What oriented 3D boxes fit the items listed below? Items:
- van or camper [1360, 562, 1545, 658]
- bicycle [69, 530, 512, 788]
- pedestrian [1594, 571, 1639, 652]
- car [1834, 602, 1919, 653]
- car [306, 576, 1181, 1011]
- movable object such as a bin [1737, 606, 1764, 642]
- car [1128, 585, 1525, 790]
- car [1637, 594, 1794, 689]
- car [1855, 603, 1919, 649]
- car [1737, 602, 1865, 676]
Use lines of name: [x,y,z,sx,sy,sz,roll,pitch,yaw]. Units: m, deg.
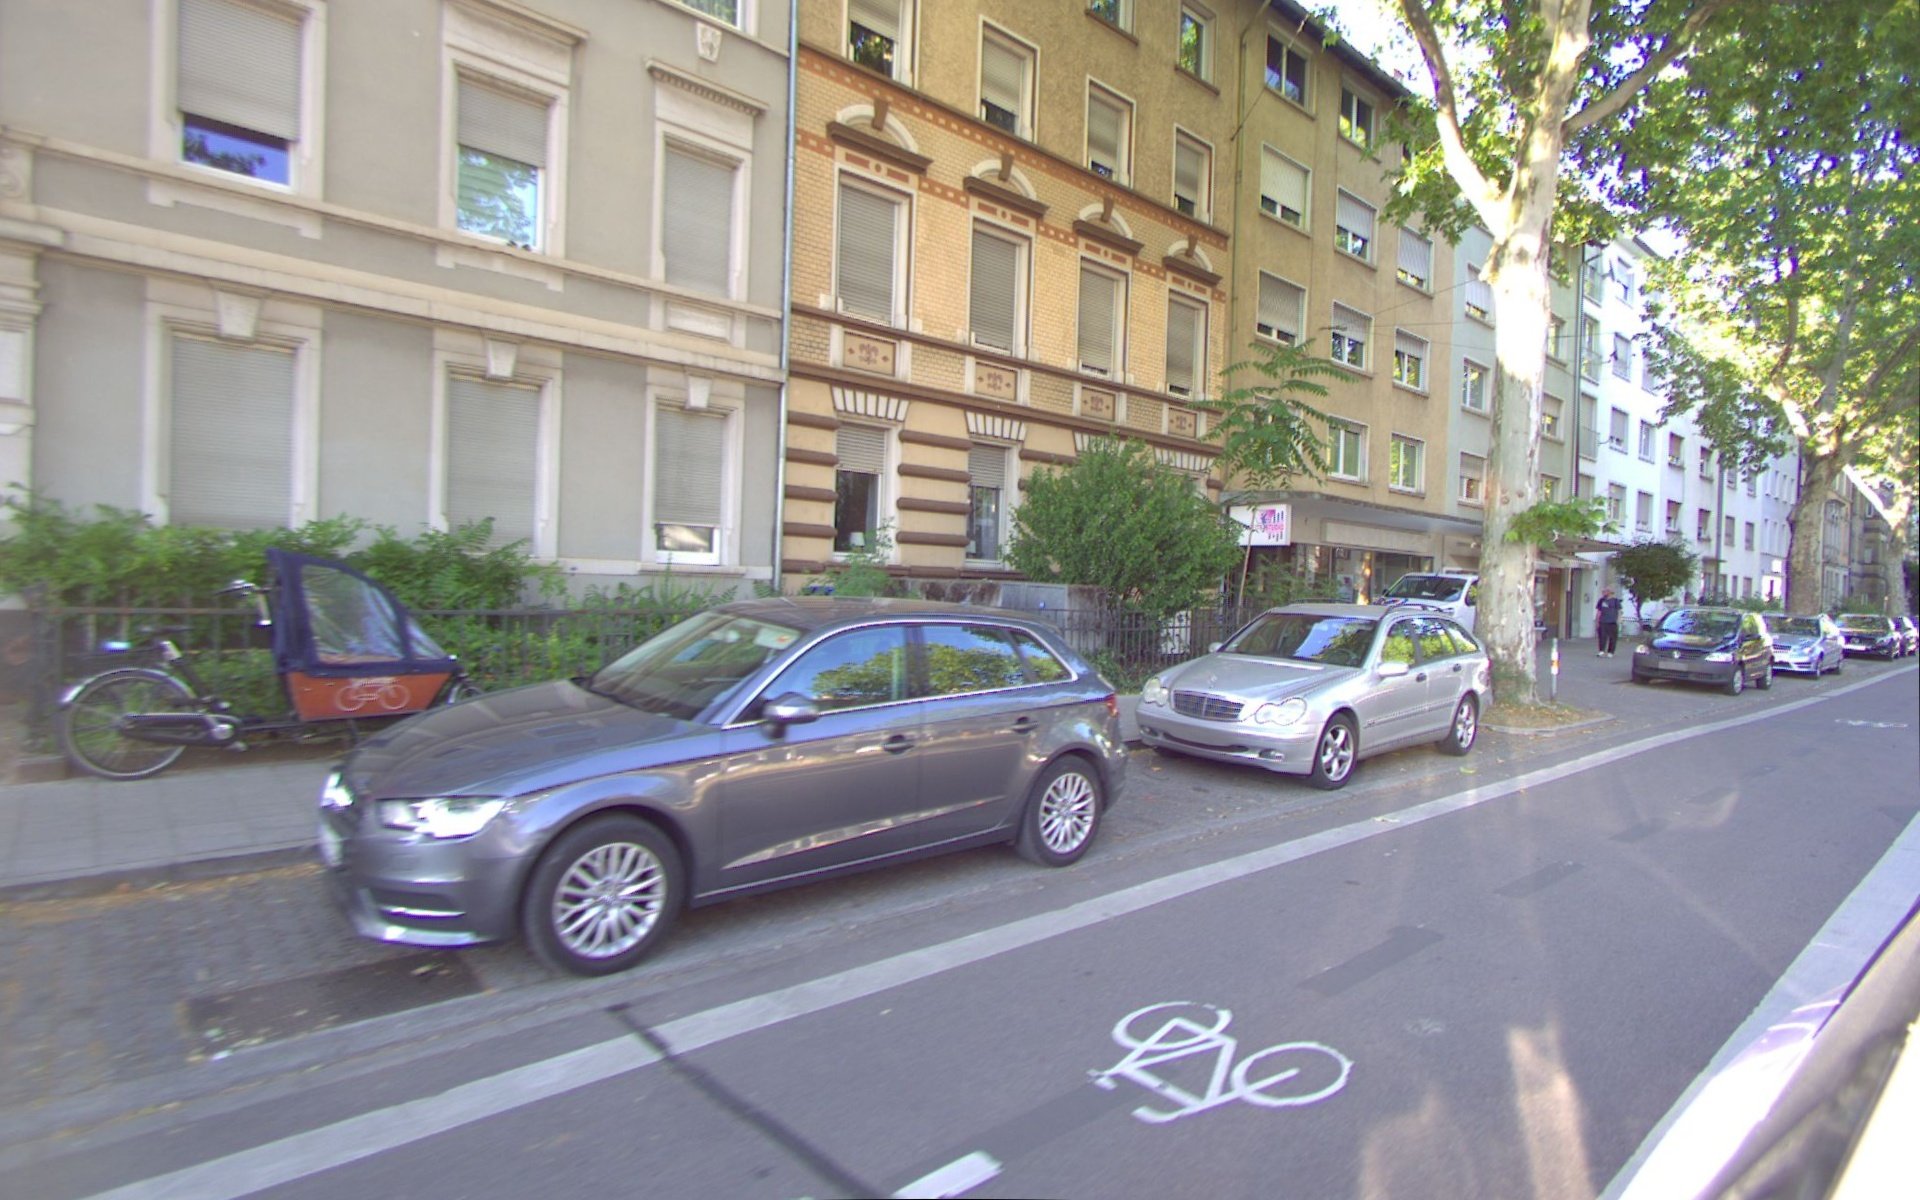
van or camper: [11.423,0.185,23.282,5.299,1.946,1.945,1,2,-42]
bicycle: [-4.274,0.329,6.654,2.354,1.445,0.608,0,-1,-41]
pedestrian: [16.793,0.282,25.886,0.995,2.039,0.683,1,1,-43]
car: [29.942,0.850,32.905,4.288,1.432,1.712,0,4,-42]
car: [-0.843,0.641,5.387,4.245,1.414,1.714,1,1,-40]
movable object such as a bin: [26.375,0.789,33.776,0.655,1.173,0.616,0,1,-44]
car: [3.658,0.645,9.598,4.494,1.469,1.676,0,1,-43]
car: [14.474,0.715,19.315,3.931,1.564,1.656,1,2,-42]
car: [33.479,0.898,36.161,4.288,1.432,1.712,0,4,-42]
car: [20.244,0.874,24.288,4.695,1.562,1.697,1,1,-42]
